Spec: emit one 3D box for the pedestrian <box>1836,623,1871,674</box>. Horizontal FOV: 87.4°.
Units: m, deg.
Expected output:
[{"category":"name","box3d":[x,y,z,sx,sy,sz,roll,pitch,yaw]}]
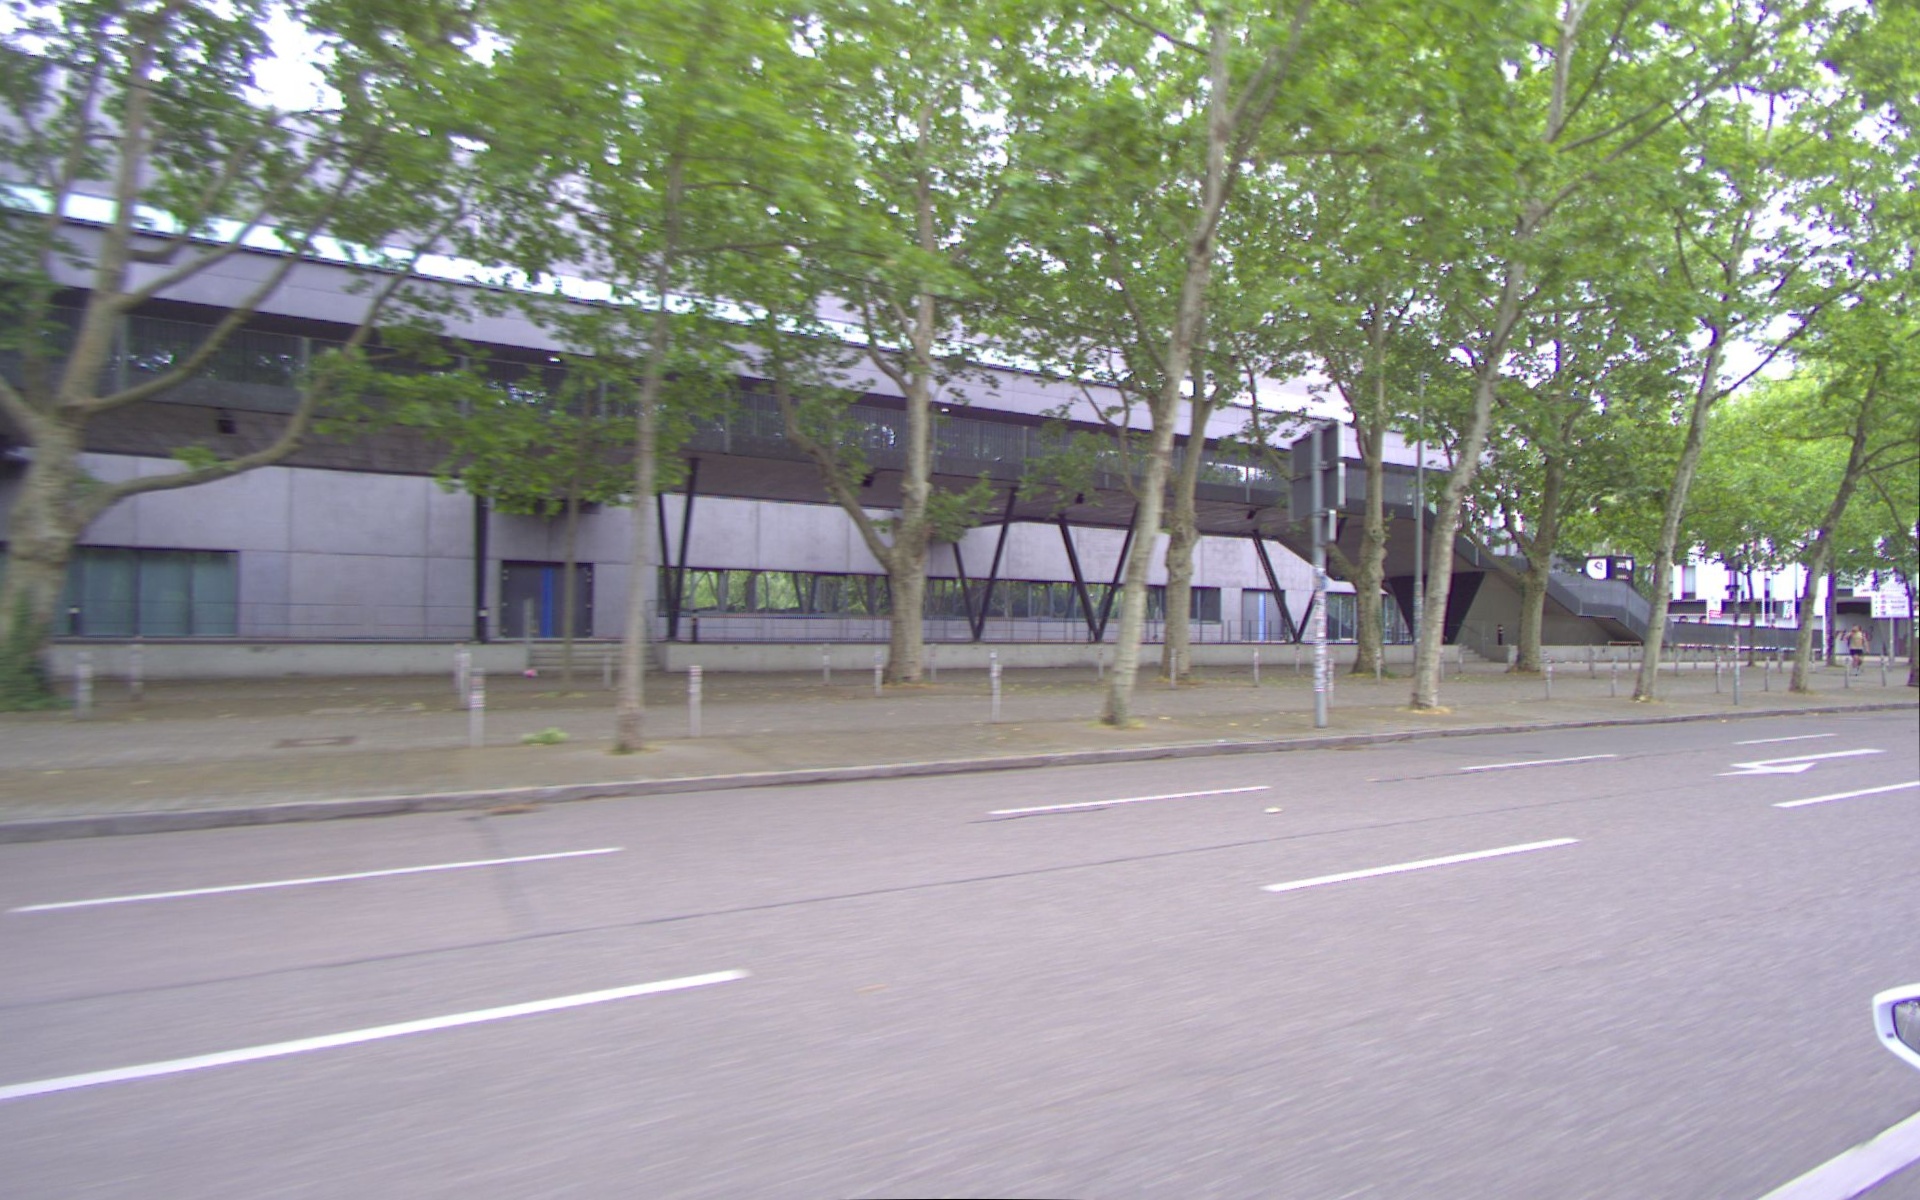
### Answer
[{"category":"pedestrian","box3d":[33.204,1.776,37.341,0.758,1.859,0.878,0,-1,27]}]
